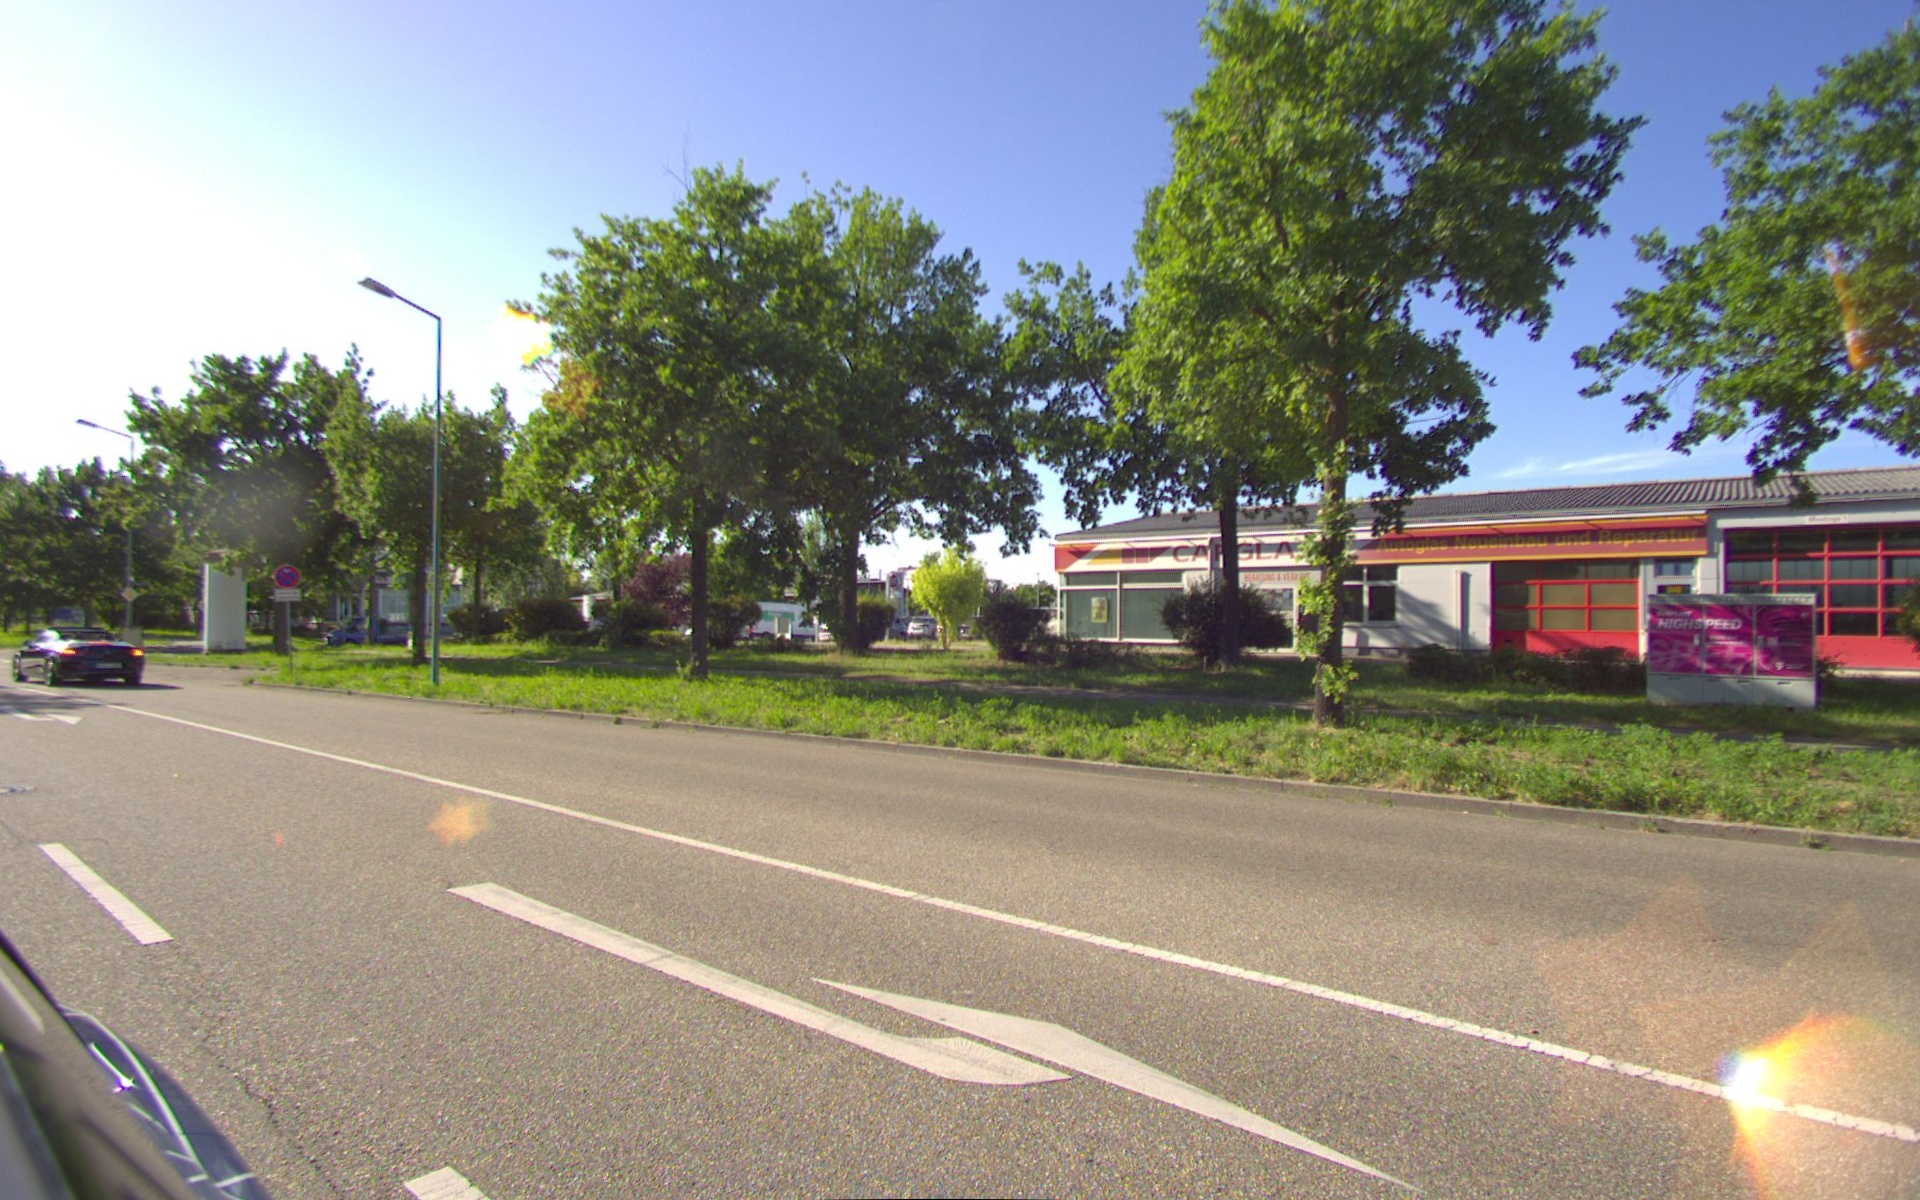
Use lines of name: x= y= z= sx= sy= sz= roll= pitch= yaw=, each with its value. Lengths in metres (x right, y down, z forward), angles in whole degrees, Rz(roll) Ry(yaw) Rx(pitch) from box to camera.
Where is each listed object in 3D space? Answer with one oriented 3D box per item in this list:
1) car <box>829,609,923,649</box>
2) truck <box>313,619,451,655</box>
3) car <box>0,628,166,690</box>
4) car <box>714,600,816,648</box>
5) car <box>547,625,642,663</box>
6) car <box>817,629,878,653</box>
car: x=-4.603 y=1.596 z=56.249 sx=2.297 sy=2.085 sz=5.359 roll=-1 pitch=-2 yaw=37
truck: x=-35.368 y=2.244 z=62.179 sx=2.138 sy=2.065 sz=7.043 roll=0 pitch=-2 yaw=38
car: x=-21.916 y=1.441 z=25.225 sx=4.575 sy=1.414 sz=1.977 roll=-1 pitch=-5 yaw=34
car: x=-11.572 y=1.355 z=60.571 sx=2.297 sy=2.723 sz=6.102 roll=0 pitch=0 yaw=37
car: x=-26.627 y=3.149 z=73.966 sx=2.297 sy=2.535 sz=6.280 roll=0 pitch=0 yaw=37
car: x=-6.455 y=2.326 z=58.280 sx=1.572 sy=1.312 sz=3.489 roll=-1 pitch=-1 yaw=38
